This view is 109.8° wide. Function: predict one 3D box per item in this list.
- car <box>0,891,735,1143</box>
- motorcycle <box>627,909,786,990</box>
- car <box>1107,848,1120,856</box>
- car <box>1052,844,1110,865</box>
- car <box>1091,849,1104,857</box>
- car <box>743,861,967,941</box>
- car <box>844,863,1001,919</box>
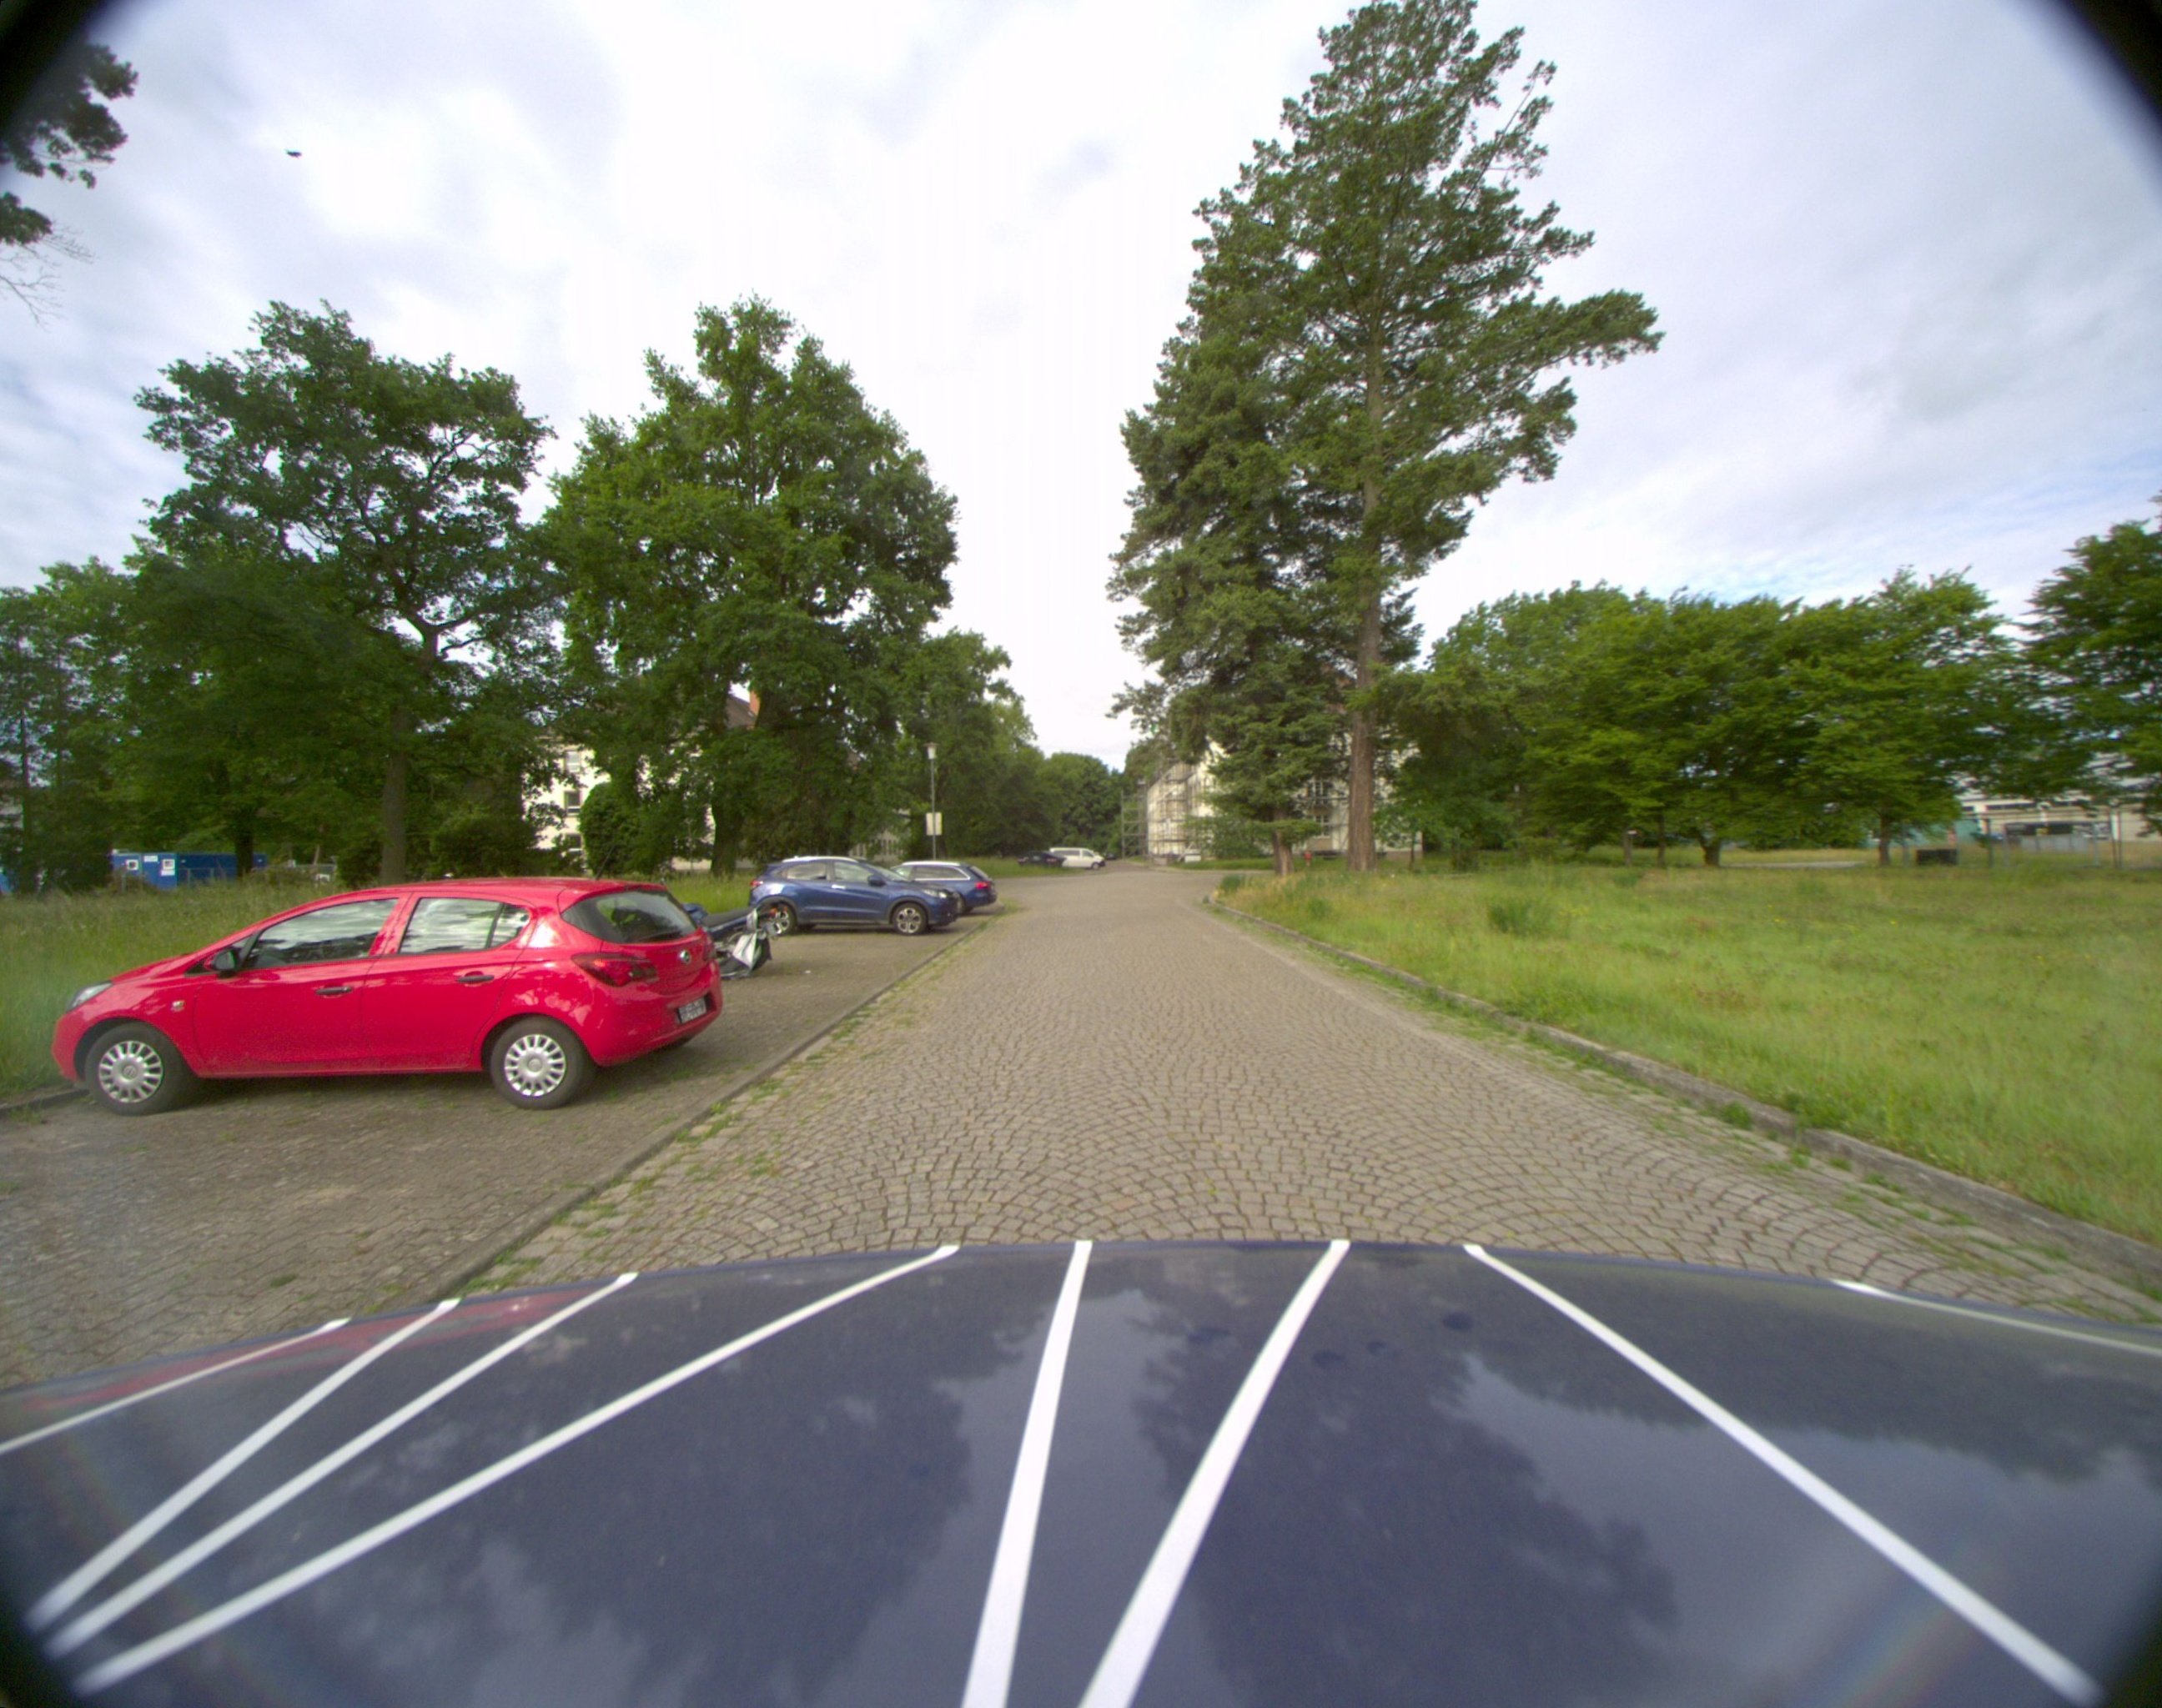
[{"bbox_3d":[-4.815,1.045,5.485,3.894,1.451,1.582,0,1,-1],"label":"car"},{"bbox_3d":[-4.848,1.231,9.919,1.745,0.951,0.614,0,1,-5],"label":"motorcycle"},{"bbox_3d":[5.787,-0.381,136.055,1.870,1.408,4.694,0,0,-4],"label":"car"},{"bbox_3d":[-0.009,0.063,69.143,5.141,1.860,1.723,0,1,-1],"label":"car"},{"bbox_3d":[2.897,-0.264,135.534,1.870,1.408,4.694,0,0,-4],"label":"car"},{"bbox_3d":[-4.563,0.933,15.724,4.150,1.529,1.582,0,1,-1],"label":"car"},{"bbox_3d":[-4.165,0.965,20.382,3.878,1.417,1.582,0,1,-1],"label":"car"}]
